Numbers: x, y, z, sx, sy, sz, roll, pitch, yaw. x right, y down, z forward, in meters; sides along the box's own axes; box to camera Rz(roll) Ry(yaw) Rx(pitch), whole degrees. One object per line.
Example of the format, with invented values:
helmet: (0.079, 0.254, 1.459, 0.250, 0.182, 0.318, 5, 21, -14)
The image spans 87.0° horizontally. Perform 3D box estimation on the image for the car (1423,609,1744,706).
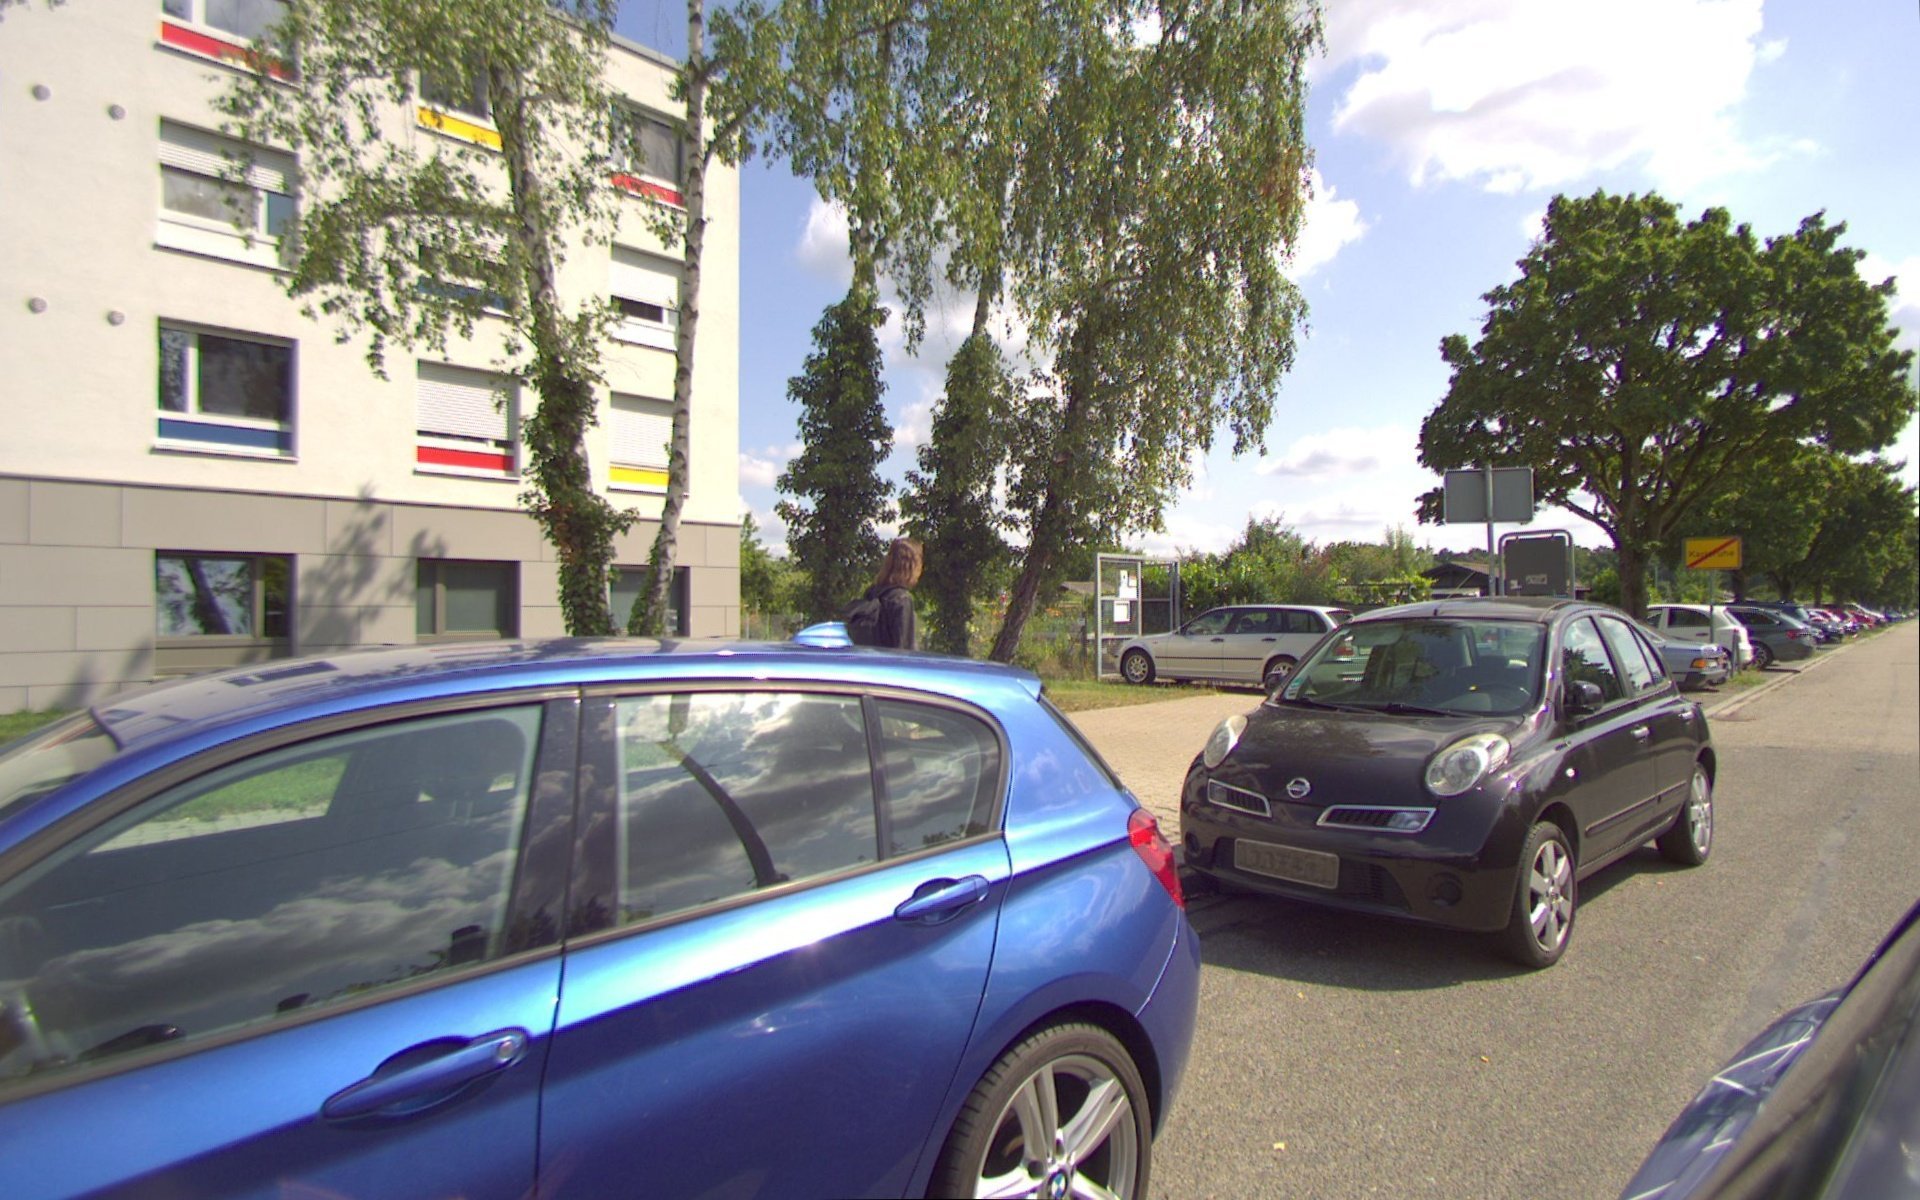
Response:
car: (10.435, 0.869, 17.219, 1.688, 1.409, 4.366, 0, 0, -41)

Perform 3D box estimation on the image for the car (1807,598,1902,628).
car: (59.078, 0.816, 66.894, 4.634, 1.910, 2.078, 0, -1, 44)

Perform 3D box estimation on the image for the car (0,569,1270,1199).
car: (-1.398, 0.728, 1.650, 4.132, 1.458, 1.666, 0, -2, -41)

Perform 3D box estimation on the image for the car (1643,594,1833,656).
car: (22.629, 0.689, 29.546, 1.847, 1.658, 4.158, 0, -1, -43)

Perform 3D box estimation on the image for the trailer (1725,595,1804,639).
trailer: (33.042, 0.721, 41.579, 2.447, 1.743, 1.495, -3, -3, 42)

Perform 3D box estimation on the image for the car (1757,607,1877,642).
car: (39.095, 1.139, 46.207, 4.063, 1.474, 1.841, -3, -2, 43)

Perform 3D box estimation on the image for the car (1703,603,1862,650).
car: (29.957, 0.999, 36.948, 4.302, 1.614, 1.968, -3, -2, 45)

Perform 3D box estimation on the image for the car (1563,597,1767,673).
car: (15.892, 0.795, 22.889, 3.571, 1.569, 1.641, -3, -2, 42)

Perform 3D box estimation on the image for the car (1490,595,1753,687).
car: (12.581, 0.772, 19.393, 3.932, 1.580, 1.838, -3, -2, 44)

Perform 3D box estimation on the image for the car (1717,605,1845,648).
car: (31.593, 1.033, 38.995, 3.720, 1.560, 1.821, -3, -2, 42)

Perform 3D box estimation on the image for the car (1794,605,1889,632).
car: (53.665, 1.139, 61.656, 1.847, 1.524, 4.185, 0, -2, -44)

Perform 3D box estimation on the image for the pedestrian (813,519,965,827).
pedestrian: (-0.446, 0.421, 6.263, 0.707, 1.768, 0.612, 0, -2, -32)

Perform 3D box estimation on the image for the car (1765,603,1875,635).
car: (43.455, 0.966, 51.176, 1.822, 1.539, 3.992, 0, -2, -41)

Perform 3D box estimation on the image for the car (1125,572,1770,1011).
car: (2.827, 0.692, 5.462, 3.930, 1.525, 1.666, 0, -2, -41)

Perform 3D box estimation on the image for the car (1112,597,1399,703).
car: (4.744, 0.717, 16.664, 4.242, 1.448, 1.730, 1, 1, 45)

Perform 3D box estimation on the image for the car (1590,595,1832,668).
car: (18.150, 0.782, 24.594, 4.544, 1.599, 1.781, -3, -2, 42)

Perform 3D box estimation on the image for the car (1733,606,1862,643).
car: (36.419, 1.077, 44.065, 1.924, 1.531, 4.069, 0, -2, -42)

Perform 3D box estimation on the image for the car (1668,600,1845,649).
car: (26.060, 0.828, 33.190, 4.335, 1.511, 1.944, -3, -2, 45)
